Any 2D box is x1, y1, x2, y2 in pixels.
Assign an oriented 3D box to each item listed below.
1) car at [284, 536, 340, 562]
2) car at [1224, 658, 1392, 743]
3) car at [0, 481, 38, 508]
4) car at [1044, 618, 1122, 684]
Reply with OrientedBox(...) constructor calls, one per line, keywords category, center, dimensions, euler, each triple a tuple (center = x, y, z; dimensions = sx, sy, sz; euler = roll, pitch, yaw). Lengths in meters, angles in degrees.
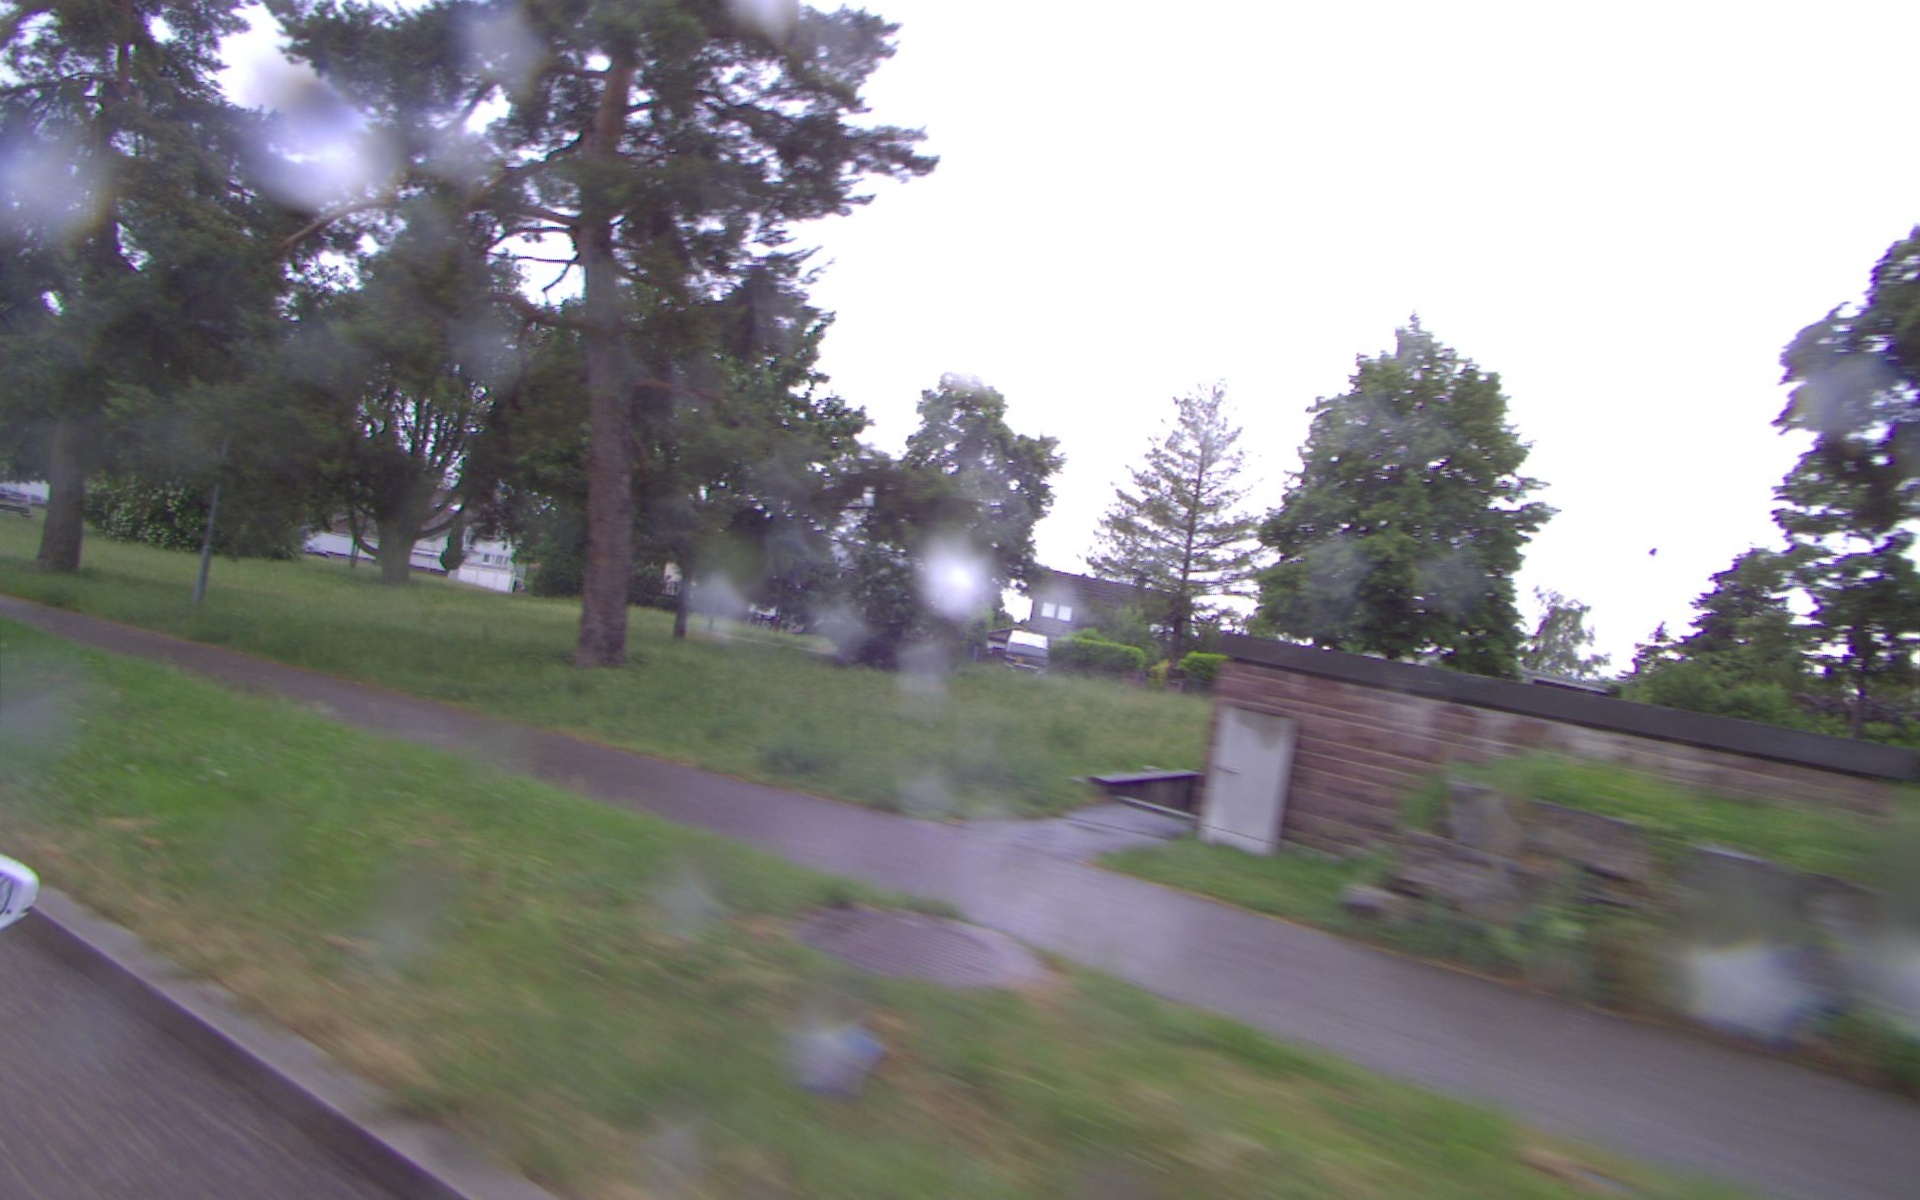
OrientedBox(category="car", center=(-48.276, -3.812, 74.917), dimensions=(3.934, 1.483, 1.974), euler=(6, 1, 32))
OrientedBox(category="car", center=(9.798, 2.819, 28.457), dimensions=(3.939, 1.671, 1.827), euler=(8, -1, 38))
OrientedBox(category="car", center=(-76.188, -8.497, 79.416), dimensions=(4.487, 1.771, 1.907), euler=(7, 0, -15))
OrientedBox(category="car", center=(6.044, 2.473, 48.407), dimensions=(2.564, 2.527, 6.692), euler=(11, 0, 14))
